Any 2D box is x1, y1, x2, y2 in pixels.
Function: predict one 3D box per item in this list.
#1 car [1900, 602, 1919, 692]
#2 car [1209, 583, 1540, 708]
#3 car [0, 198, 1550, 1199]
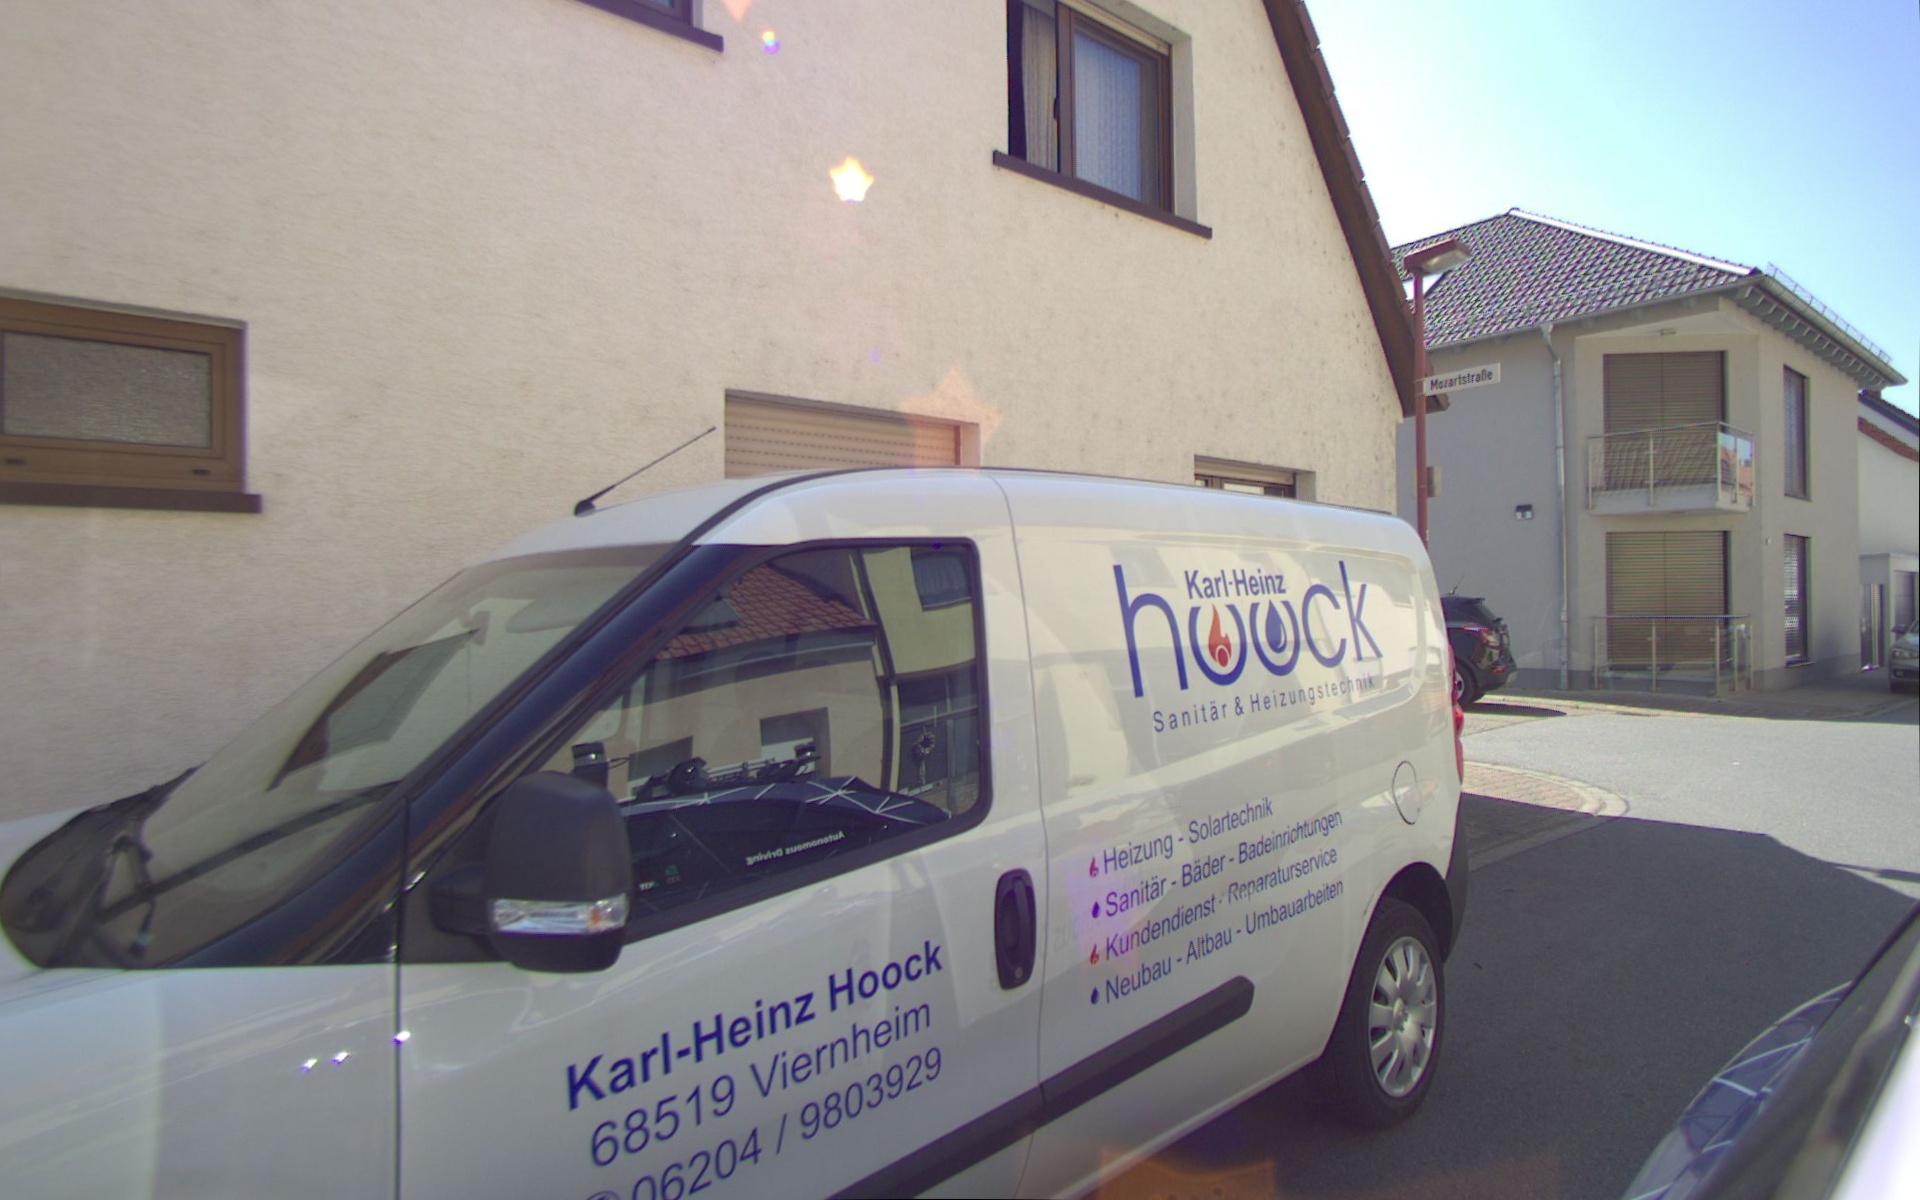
[{"bbox_3d":[16.896,0.683,16.550,3.857,1.386,1.637,-1,-2,-39],"label":"car"},{"bbox_3d":[6.066,0.584,15.057,4.258,1.603,1.738,1,-1,38],"label":"car"},{"bbox_3d":[-0.443,0.555,2.531,4.766,1.848,1.812,-1,-2,-41],"label":"car"}]
